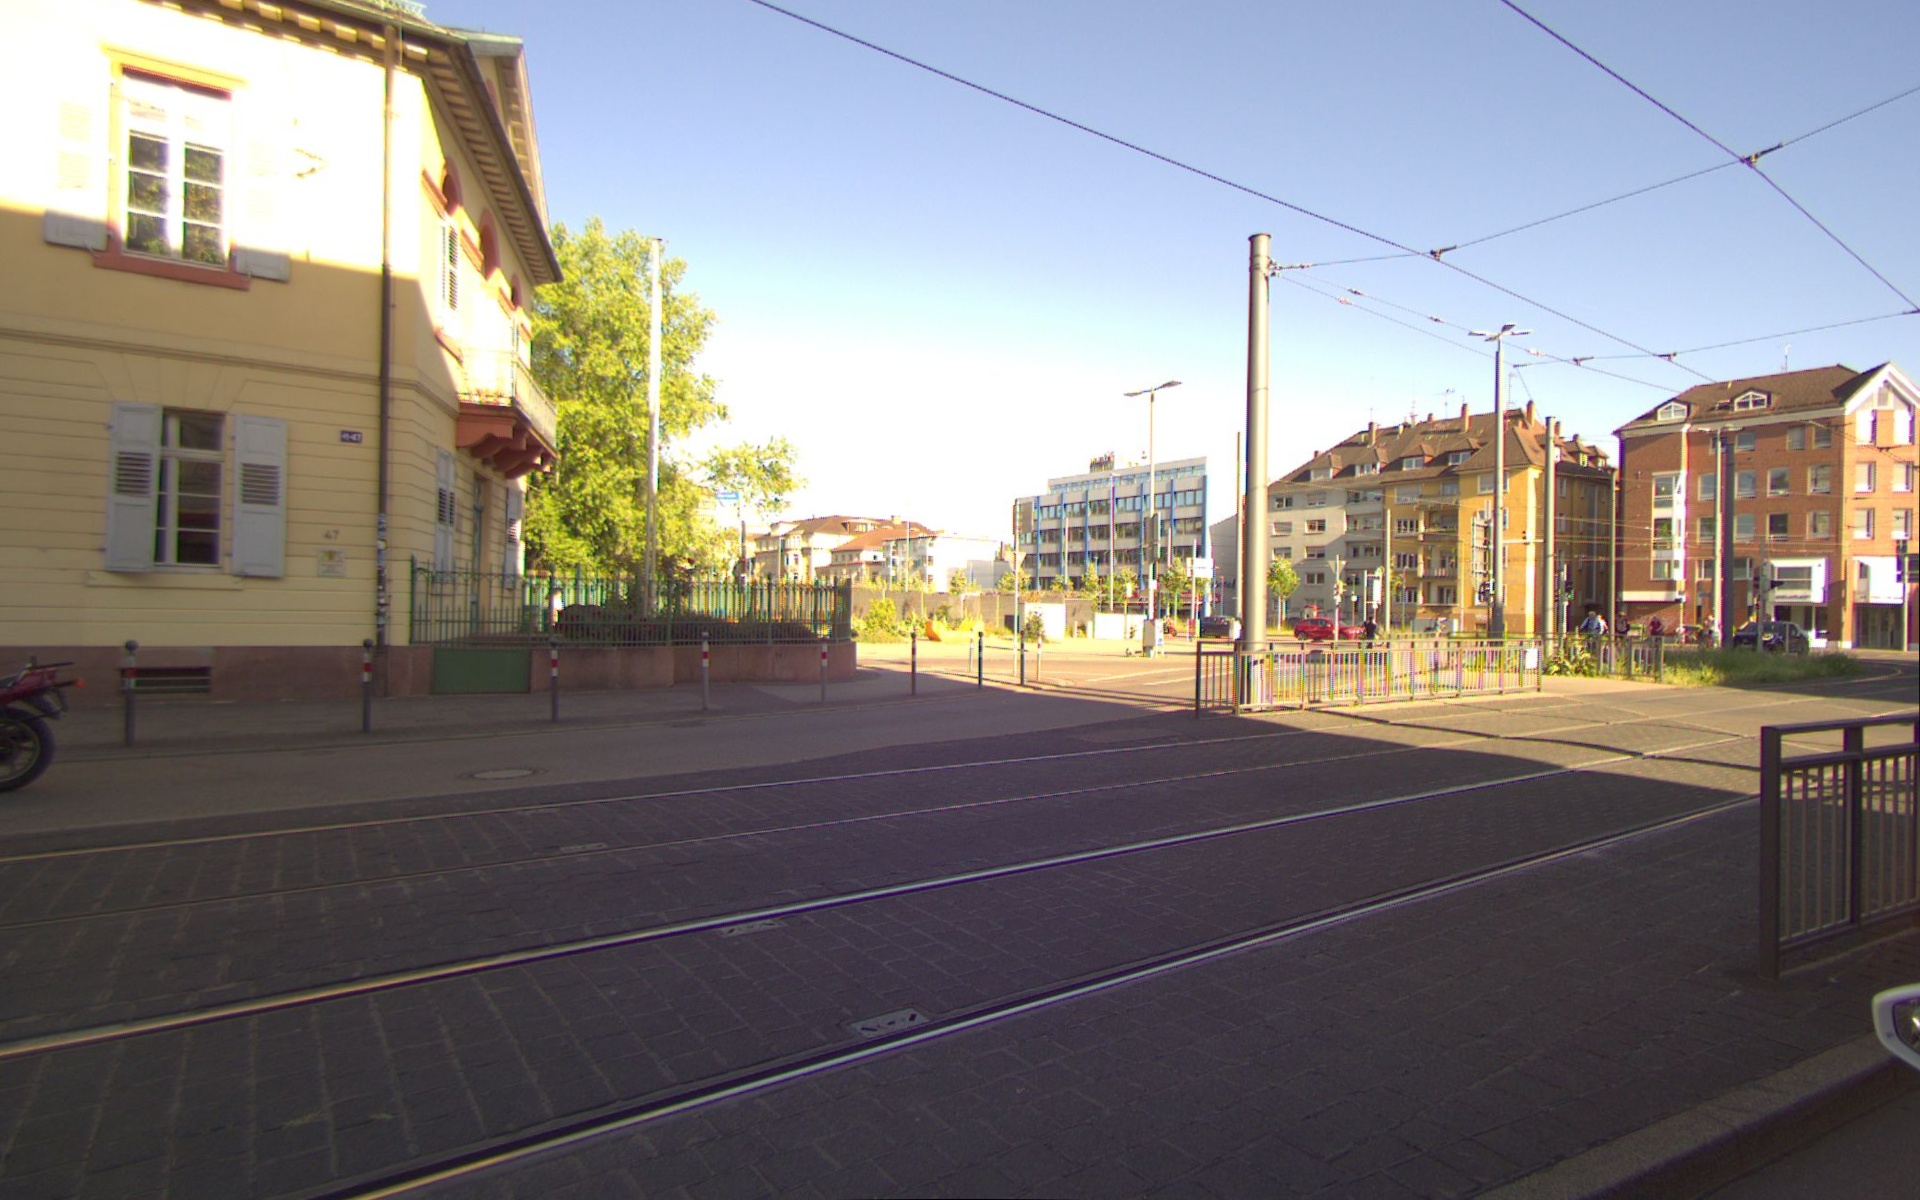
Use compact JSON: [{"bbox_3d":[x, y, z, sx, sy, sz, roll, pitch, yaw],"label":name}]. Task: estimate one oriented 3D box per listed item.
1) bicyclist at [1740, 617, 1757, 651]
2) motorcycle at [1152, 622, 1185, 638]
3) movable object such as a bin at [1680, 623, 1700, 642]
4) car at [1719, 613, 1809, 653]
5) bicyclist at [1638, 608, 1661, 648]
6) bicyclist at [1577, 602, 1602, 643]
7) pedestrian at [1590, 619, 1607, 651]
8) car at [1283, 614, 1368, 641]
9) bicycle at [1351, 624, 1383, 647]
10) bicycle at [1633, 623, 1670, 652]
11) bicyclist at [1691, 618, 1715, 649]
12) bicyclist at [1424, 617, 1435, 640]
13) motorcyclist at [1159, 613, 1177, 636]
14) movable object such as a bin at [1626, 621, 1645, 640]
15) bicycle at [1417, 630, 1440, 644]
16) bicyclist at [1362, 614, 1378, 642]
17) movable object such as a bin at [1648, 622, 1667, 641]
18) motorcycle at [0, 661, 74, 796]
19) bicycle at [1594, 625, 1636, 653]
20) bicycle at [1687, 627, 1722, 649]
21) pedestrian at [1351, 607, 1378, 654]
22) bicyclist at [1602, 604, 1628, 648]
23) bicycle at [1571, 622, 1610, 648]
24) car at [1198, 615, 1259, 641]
[{"bbox_3d":[39.151,1.681,49.875,0.582,1.671,0.801,2,0,44],"label":"bicyclist"},{"bbox_3d":[14.445,2.079,69.716,0.784,0.997,2.342,2,0,-36],"label":"motorcycle"},{"bbox_3d":[56.698,2.511,77.969,1.087,1.456,0.988,2,0,-39],"label":"movable object such as a bin"},{"bbox_3d":[34.552,1.423,43.164,4.074,1.581,1.676,2,0,-30],"label":"car"},{"bbox_3d":[30.183,1.226,43.960,0.761,1.695,0.518,2,0,-29],"label":"bicyclist"},{"bbox_3d":[26.382,0.946,42.093,0.761,1.695,0.518,2,0,-29],"label":"bicyclist"},{"bbox_3d":[34.330,1.882,54.005,0.700,1.711,0.619,-1,2,-42],"label":"pedestrian"},{"bbox_3d":[21.720,1.617,59.748,1.768,1.529,4.513,1,-2,-39],"label":"car"},{"bbox_3d":[22.124,1.929,54.674,0.608,1.148,1.481,2,0,-43],"label":"bicycle"},{"bbox_3d":[30.329,1.632,44.045,1.862,1.230,0.527,2,0,-29],"label":"bicycle"},{"bbox_3d":[36.138,1.630,48.863,0.721,1.473,0.661,2,0,-29],"label":"bicyclist"},{"bbox_3d":[27.230,1.648,58.216,0.453,1.333,0.397,2,0,44],"label":"bicyclist"},{"bbox_3d":[14.440,1.723,69.726,0.775,1.544,0.914,2,0,-36],"label":"motorcyclist"},{"bbox_3d":[54.520,2.475,81.032,1.087,1.456,0.988,2,0,-39],"label":"movable object such as a bin"},{"bbox_3d":[27.159,2.124,58.244,1.160,0.774,0.318,2,0,45],"label":"bicycle"},{"bbox_3d":[22.262,1.518,54.546,0.605,1.513,0.608,2,0,-44],"label":"bicyclist"},{"bbox_3d":[55.454,2.493,79.880,1.087,1.456,0.988,2,0,-39],"label":"movable object such as a bin"},{"bbox_3d":[-7.661,0.925,7.035,2.138,0.939,0.594,2,0,-40],"label":"motorcycle"},{"bbox_3d":[25.551,1.521,39.162,1.873,1.027,0.527,2,0,-29],"label":"bicycle"},{"bbox_3d":[36.283,1.837,48.942,1.862,1.027,0.647,2,0,-29],"label":"bicycle"},{"bbox_3d":[17.304,1.291,42.972,0.784,1.959,0.724,2,0,-9],"label":"pedestrian"},{"bbox_3d":[25.523,1.006,39.133,0.761,1.695,0.522,2,0,-28],"label":"bicyclist"},{"bbox_3d":[26.454,1.472,42.145,1.862,1.027,0.527,2,0,-29],"label":"bicycle"},{"bbox_3d":[17.460,1.812,65.418,1.560,1.491,3.673,2,0,-36],"label":"car"}]
